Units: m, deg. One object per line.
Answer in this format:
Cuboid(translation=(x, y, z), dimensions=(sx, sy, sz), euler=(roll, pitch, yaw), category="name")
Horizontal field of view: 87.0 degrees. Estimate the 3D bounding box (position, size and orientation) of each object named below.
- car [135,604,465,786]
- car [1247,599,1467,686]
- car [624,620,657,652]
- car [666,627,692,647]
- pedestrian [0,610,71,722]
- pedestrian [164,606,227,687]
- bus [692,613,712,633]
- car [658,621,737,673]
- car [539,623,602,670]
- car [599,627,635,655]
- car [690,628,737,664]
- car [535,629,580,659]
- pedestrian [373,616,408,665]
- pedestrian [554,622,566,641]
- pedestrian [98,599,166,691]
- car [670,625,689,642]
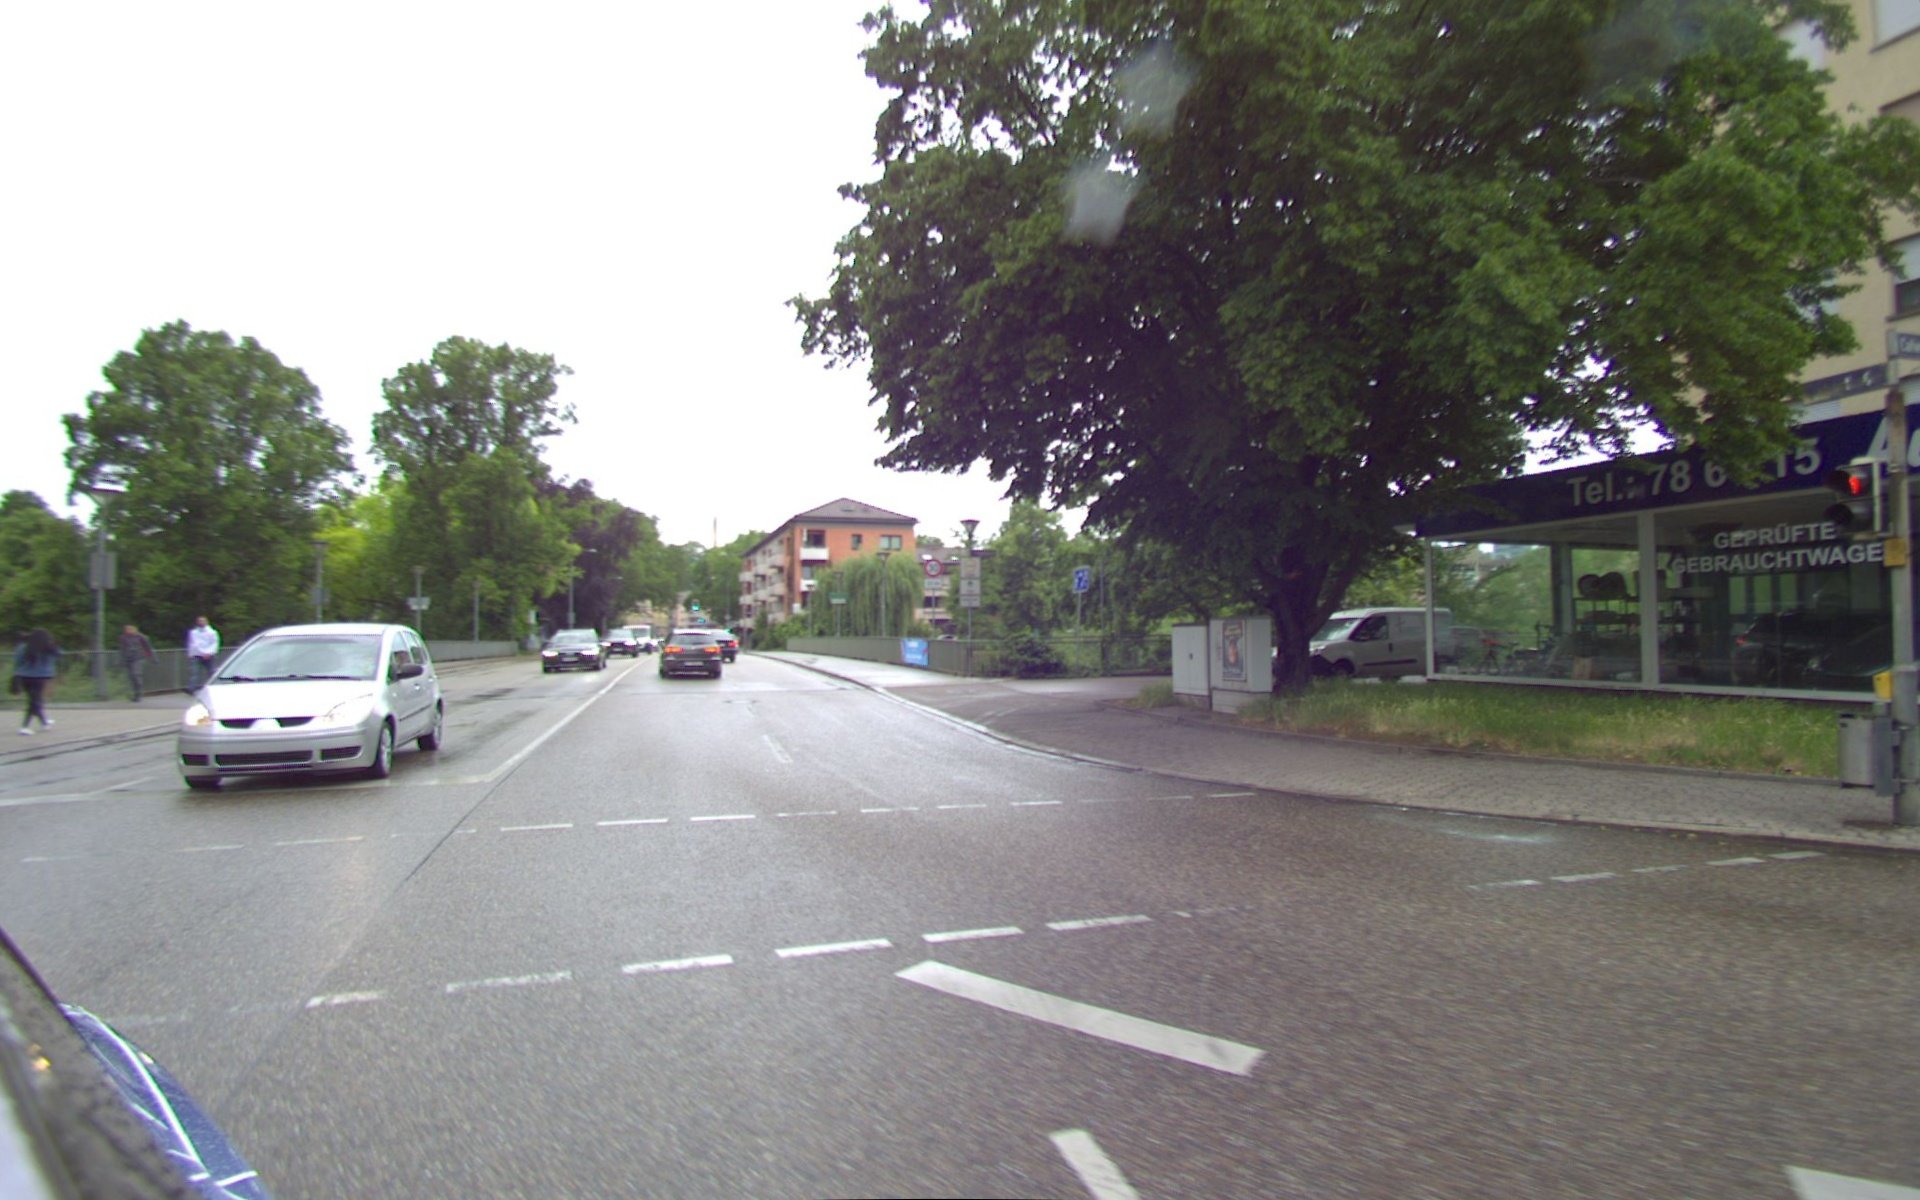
Cuboid(translation=(-6.883, 0.890, 11.193), dimensions=(1.690, 1.529, 4.820), euler=(-1, -2, -16), category="car")
Cuboid(translation=(9.313, 0.977, 23.730), dimensions=(4.675, 1.868, 2.006), euler=(0, -3, -24), category="car")
Cuboid(translation=(-22.733, 2.537, 72.086), dimensions=(2.004, 2.147, 4.011), euler=(0, -1, -15), category="car")
Cuboid(translation=(-20.295, 2.646, 73.149), dimensions=(1.686, 1.427, 4.105), euler=(1, -2, -15), category="car")
Cuboid(translation=(-13.860, 0.961, 15.039), dimensions=(0.648, 1.612, 0.798), euler=(2, -2, -18), category="pedestrian")
Cuboid(translation=(-17.128, 1.021, 22.695), dimensions=(0.769, 1.766, 1.063), euler=(0, -2, -16), category="pedestrian")
Cuboid(translation=(-40.367, 3.592, 158.159), dimensions=(2.656, 2.962, 12.118), euler=(1, -2, -15), category="bus")
Cuboid(translation=(-7.813, 1.382, 30.430), dimensions=(1.788, 1.461, 4.213), euler=(0, -2, -7), category="car")
Cuboid(translation=(-13.680, 1.620, 35.724), dimensions=(1.690, 1.529, 4.100), euler=(-1, -2, -16), category="car")
Cuboid(translation=(-19.396, 2.316, 57.314), dimensions=(1.690, 1.529, 4.100), euler=(-1, -2, -16), category="car")
Cuboid(translation=(-11.156, 2.037, 45.670), dimensions=(1.704, 1.470, 4.442), euler=(1, -1, -18), category="car")
Cuboid(translation=(-22.668, 2.464, 57.162), dimensions=(1.875, 1.558, 4.011), euler=(0, -1, -15), category="car")
Cuboid(translation=(-19.543, 1.391, 34.746), dimensions=(0.851, 1.631, 0.842), euler=(1, -2, -15), category="pedestrian")
Cuboid(translation=(-36.318, 2.851, 91.907), dimensions=(0.836, 1.689, 1.171), euler=(2, -2, -16), category="pedestrian")
Cuboid(translation=(-16.746, 0.913, 20.484), dimensions=(0.750, 1.823, 0.783), euler=(1, -2, -15), category="pedestrian")
Cuboid(translation=(-30.327, 3.648, 109.428), dimensions=(1.863, 1.748, 4.383), euler=(1, -2, -15), category="car")
